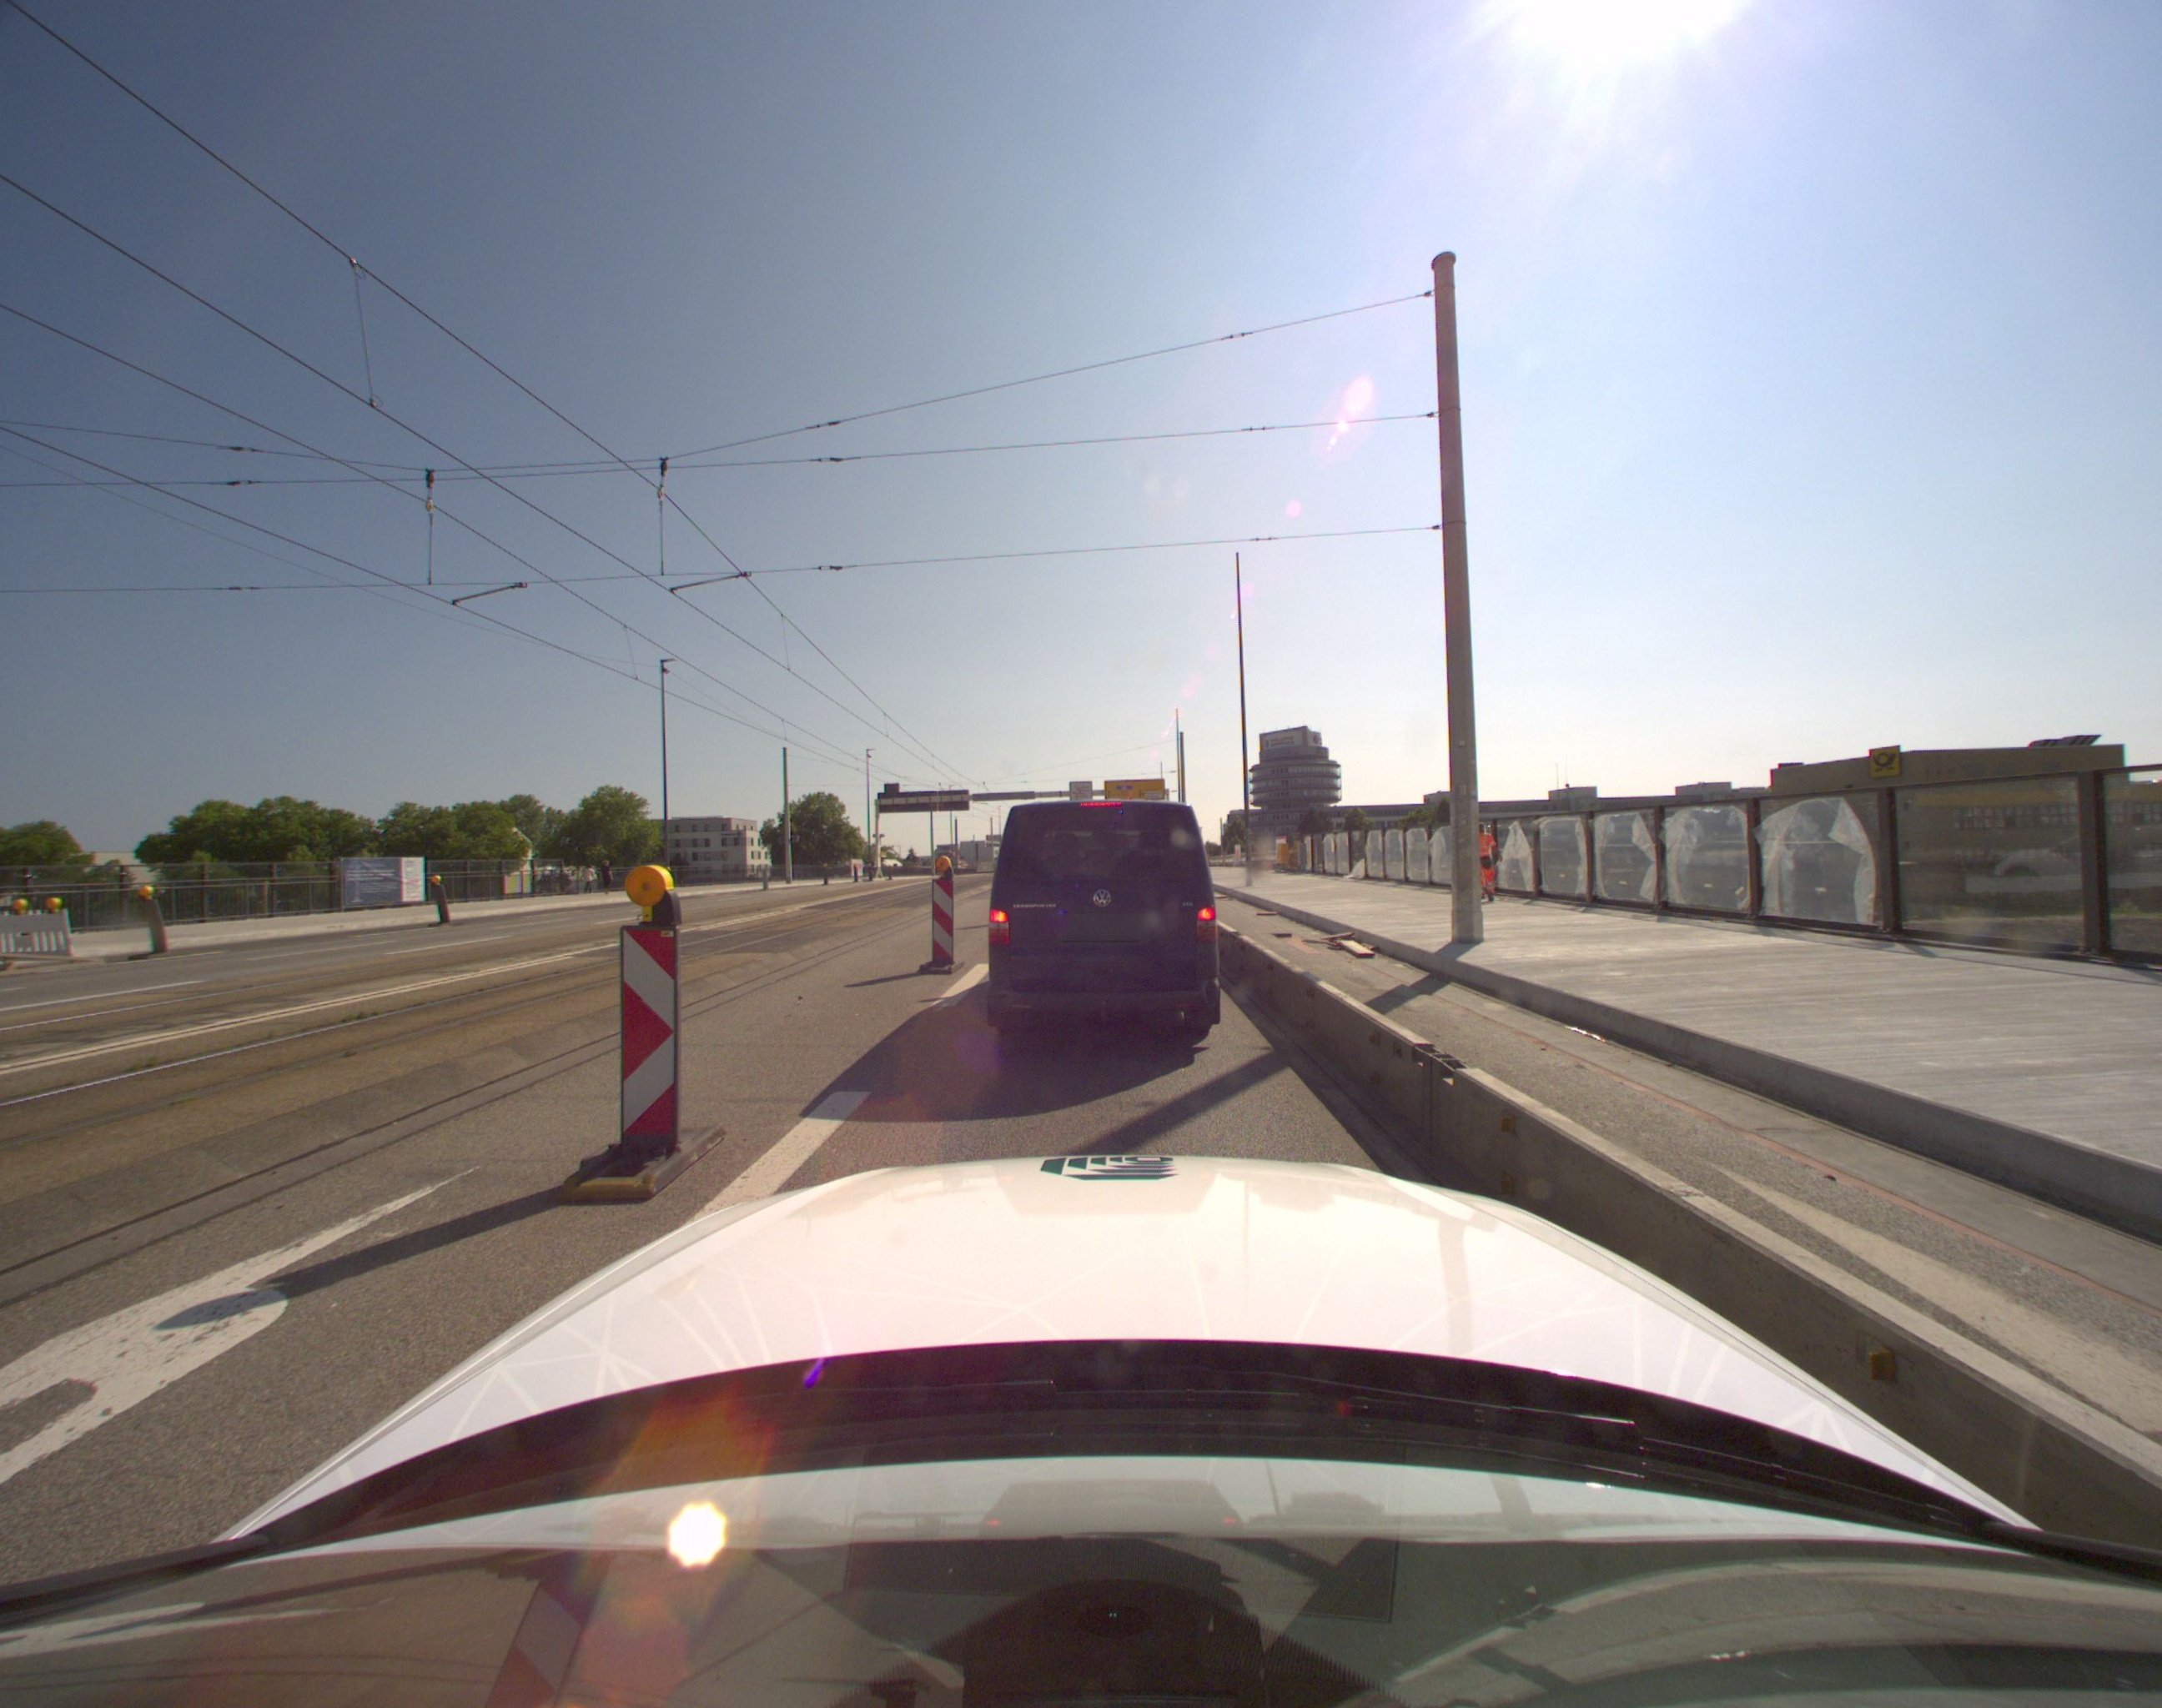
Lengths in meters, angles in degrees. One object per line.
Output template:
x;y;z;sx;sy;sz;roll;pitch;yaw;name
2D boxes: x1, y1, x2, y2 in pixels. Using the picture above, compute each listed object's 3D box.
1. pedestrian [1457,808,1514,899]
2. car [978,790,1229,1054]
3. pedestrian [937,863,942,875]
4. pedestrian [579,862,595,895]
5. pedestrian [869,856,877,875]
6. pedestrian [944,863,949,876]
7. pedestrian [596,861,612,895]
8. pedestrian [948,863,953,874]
8.894;-0.008;17.932;0.779;1.935;0.799;-3;-1;1;pedestrian
0.226;0.496;8.043;1.809;1.905;4.056;-1;0;2;car
-20.516;2.190;118.262;0.632;1.752;0.752;-1;0;1;pedestrian
-25.435;1.260;41.929;0.493;1.694;0.474;0;-1;1;pedestrian
-20.976;1.164;82.144;0.631;1.893;0.752;-1;0;1;pedestrian
-19.570;2.256;118.318;0.631;1.774;0.752;-1;0;1;pedestrian
-24.439;1.218;41.730;0.493;1.694;0.474;0;-1;1;pedestrian
-19.437;2.168;121.037;0.631;1.598;0.752;-1;0;1;pedestrian
